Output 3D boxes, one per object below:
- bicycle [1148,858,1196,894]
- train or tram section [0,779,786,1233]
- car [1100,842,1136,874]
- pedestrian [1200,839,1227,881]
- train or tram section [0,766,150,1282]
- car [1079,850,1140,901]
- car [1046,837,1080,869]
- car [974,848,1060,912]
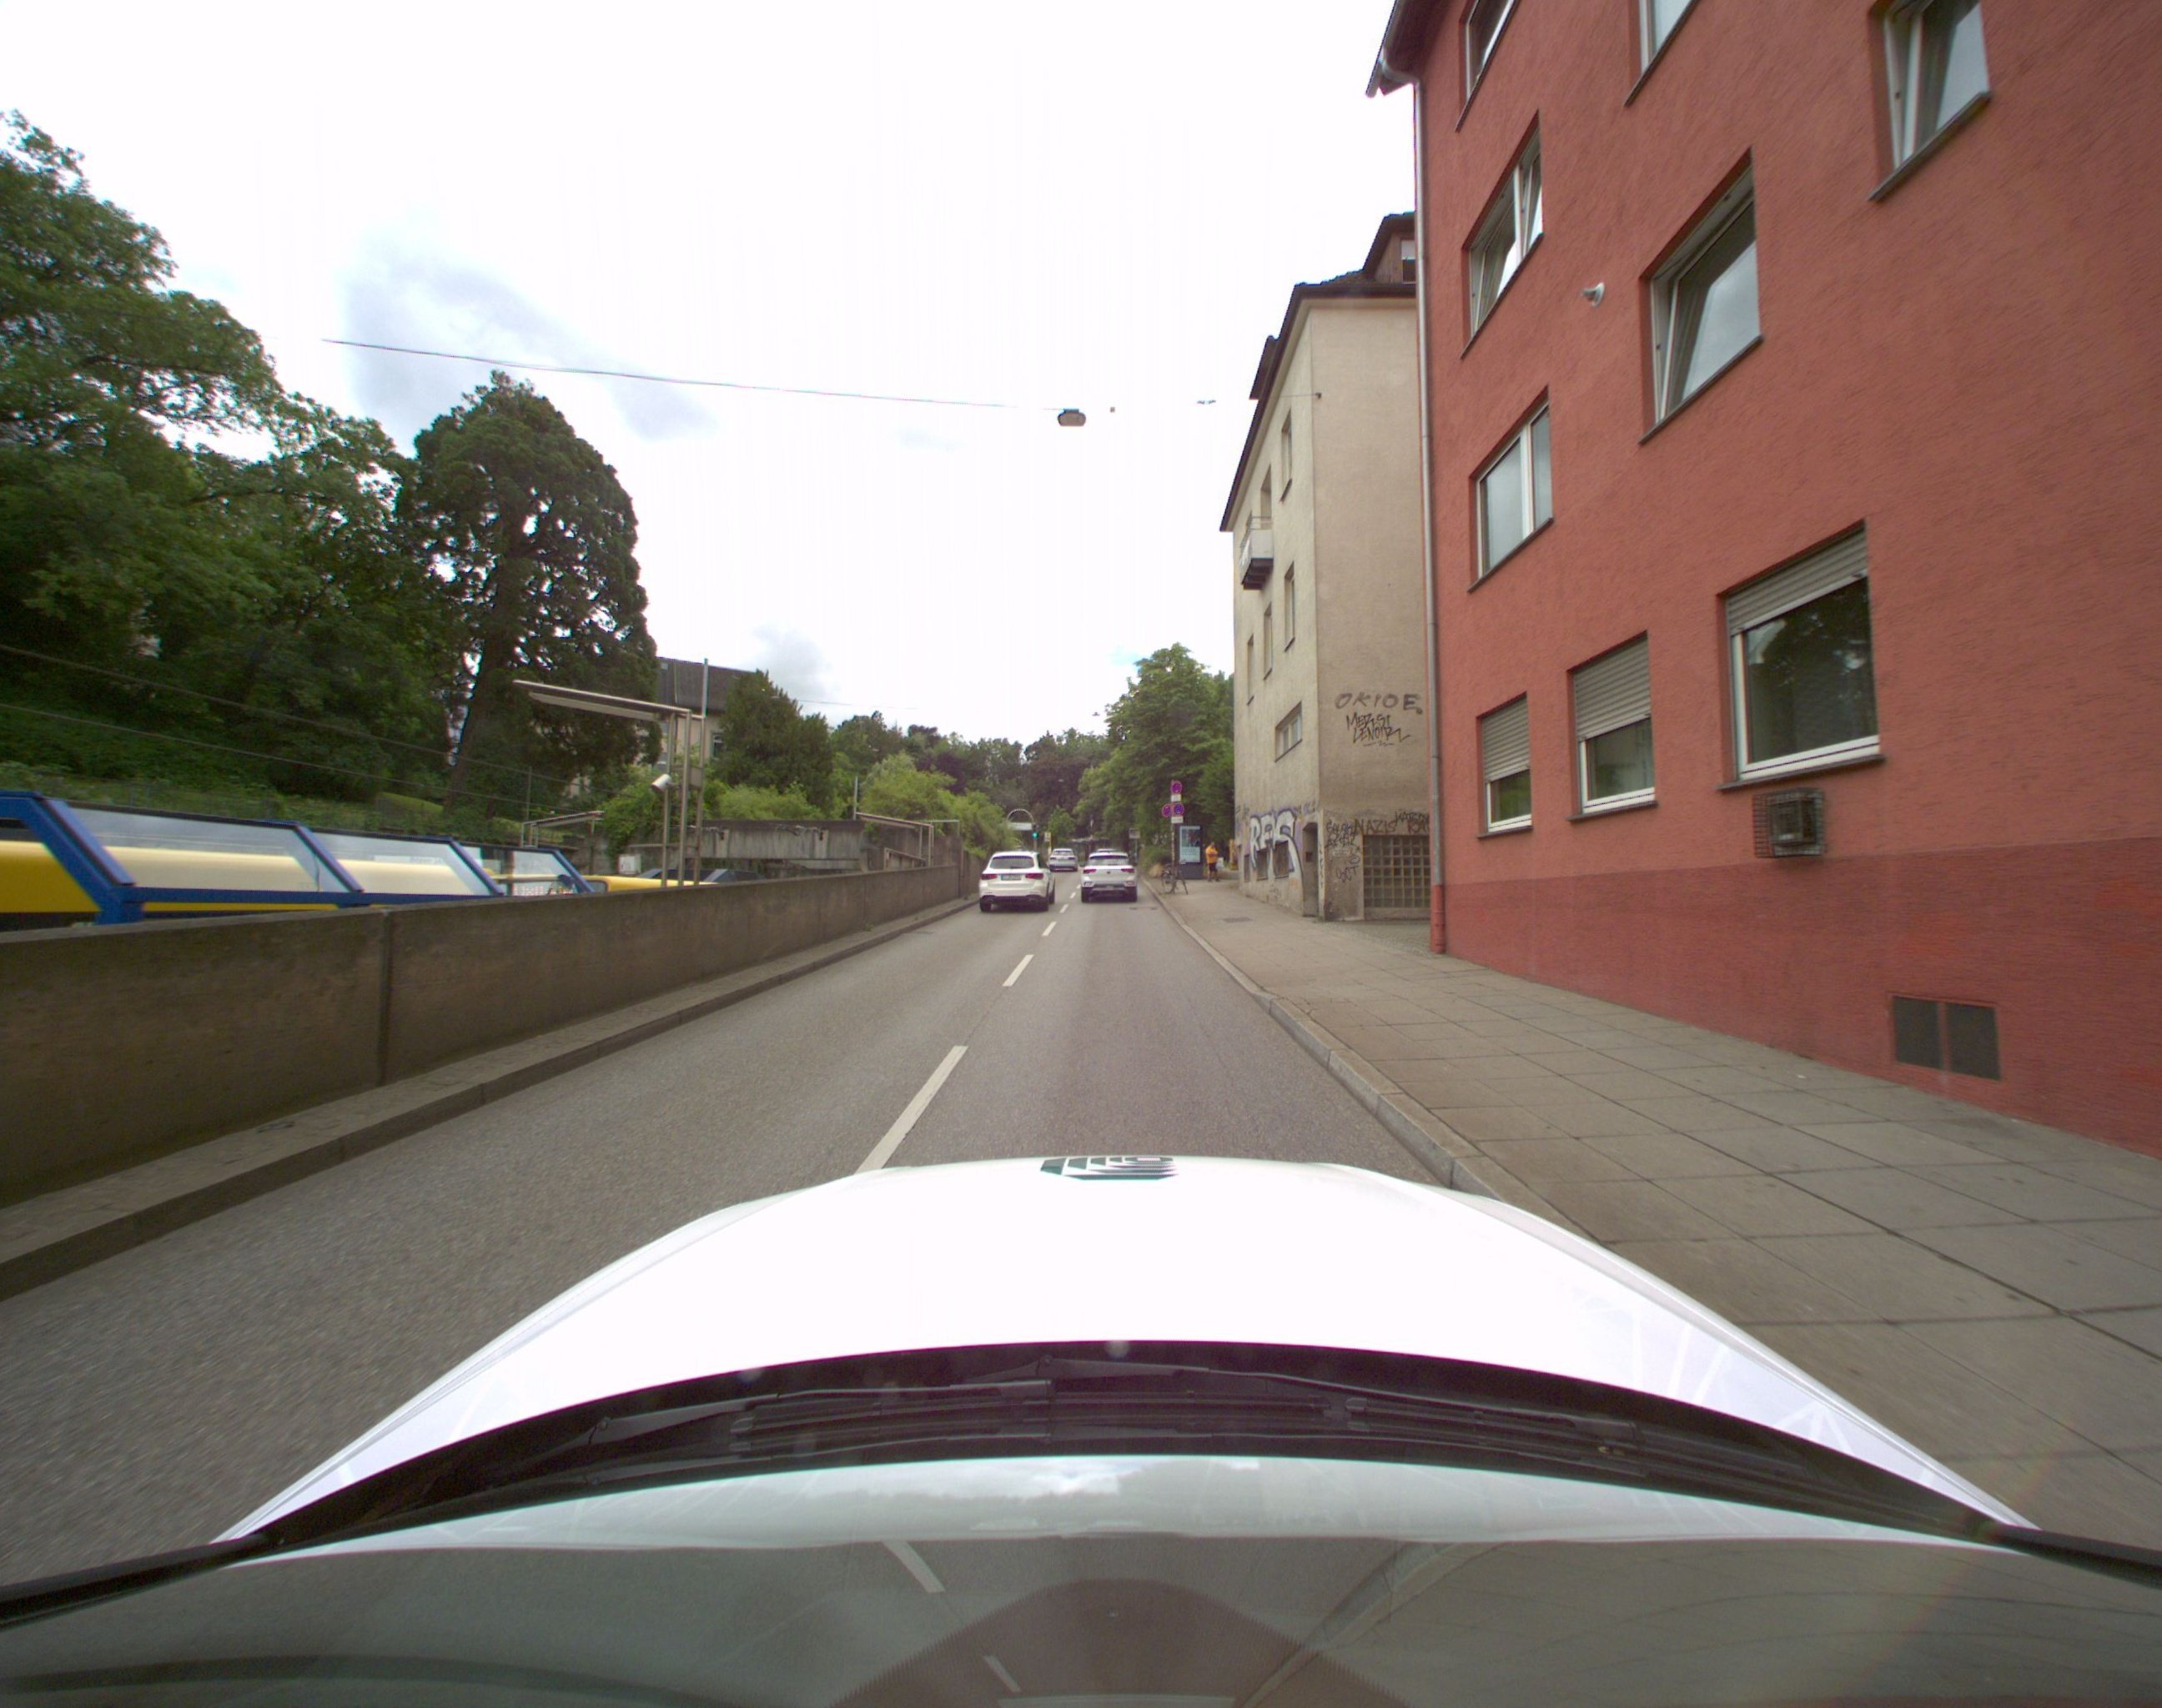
[{"bbox_3d":[2.978,0.707,26.929,0.641,1.143,2.049,-1,0,-23],"label":"bicycle"},{"bbox_3d":[-8.616,1.352,12.835,2.939,3.509,12.987,0,-2,1],"label":"train or tram section"},{"bbox_3d":[2.014,0.214,44.412,1.854,1.632,3.961,0,0,2],"label":"car"},{"bbox_3d":[5.558,0.249,34.103,0.833,1.712,0.818,-1,0,-12],"label":"pedestrian"},{"bbox_3d":[-8.929,0.950,0.219,2.938,3.484,12.220,0,-2,1],"label":"train or tram section"},{"bbox_3d":[0.966,0.651,26.821,1.857,1.556,3.897,0,0,3],"label":"car"},{"bbox_3d":[-1.124,-0.072,52.264,1.986,1.882,4.001,1,0,1],"label":"car"},{"bbox_3d":[-1.743,0.688,23.460,1.869,1.652,4.345,-1,0,3],"label":"car"}]
